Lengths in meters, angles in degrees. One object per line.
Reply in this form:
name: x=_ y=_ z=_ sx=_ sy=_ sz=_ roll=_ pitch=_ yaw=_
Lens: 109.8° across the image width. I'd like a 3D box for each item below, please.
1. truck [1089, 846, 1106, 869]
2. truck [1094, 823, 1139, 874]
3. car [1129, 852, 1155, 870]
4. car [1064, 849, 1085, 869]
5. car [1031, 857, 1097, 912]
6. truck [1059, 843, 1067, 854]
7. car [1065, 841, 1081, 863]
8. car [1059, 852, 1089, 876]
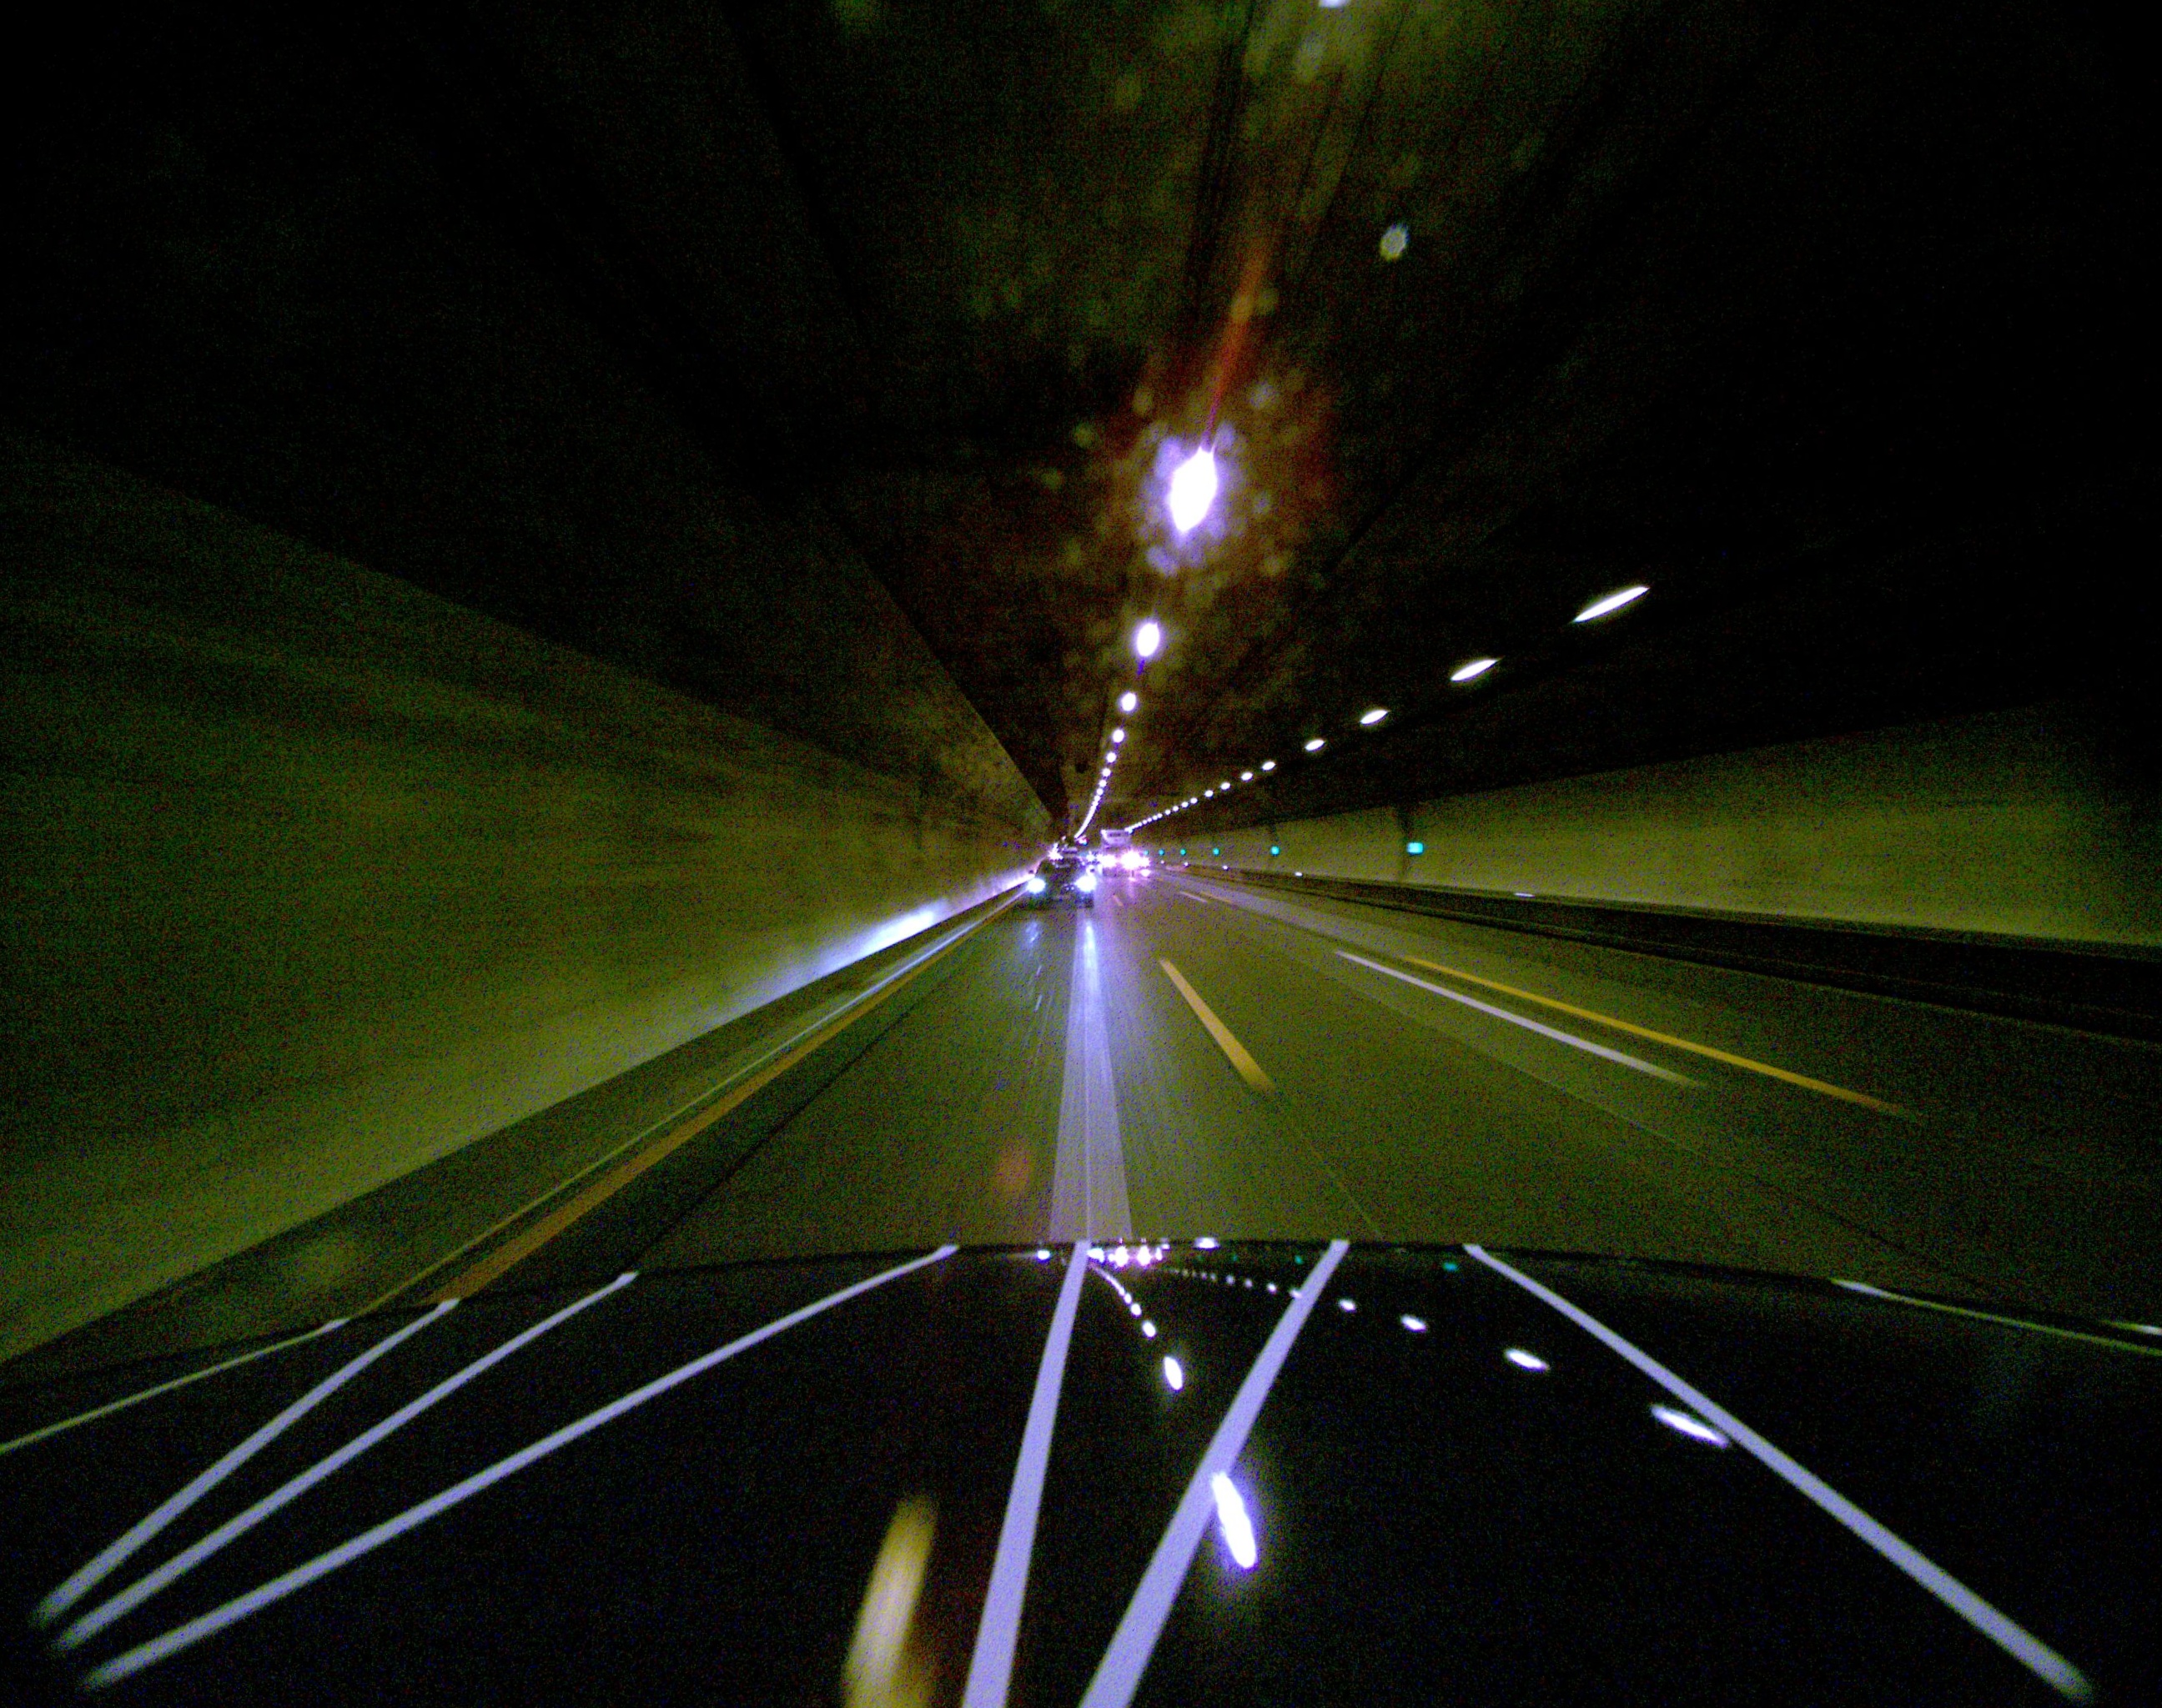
truck: x=2.217 y=0.403 z=105.243 sx=2.162 sy=3.098 sz=6.030 roll=-2 pitch=1 yaw=1
truck: x=2.401 y=-0.381 z=54.076 sx=2.534 sy=3.314 sz=7.714 roll=-1 pitch=0 yaw=-2
car: x=5.455 y=0.598 z=68.138 sx=1.998 sy=1.531 sz=4.851 roll=-2 pitch=1 yaw=1
car: x=-0.727 y=0.533 z=80.015 sx=1.999 sy=2.002 sz=4.852 roll=-1 pitch=0 yaw=-3
car: x=-0.563 y=0.873 z=23.675 sx=1.826 sy=1.469 sz=4.520 roll=-2 pitch=0 yaw=-2
truck: x=-6.332 y=-1.858 z=263.812 sx=2.208 sy=3.449 sz=11.766 roll=-1 pitch=0 yaw=2
car: x=-1.085 y=-0.292 z=102.770 sx=1.999 sy=2.710 sz=6.272 roll=-2 pitch=1 yaw=-2
car: x=-0.570 y=0.699 z=55.281 sx=1.999 sy=1.531 sz=4.741 roll=-2 pitch=1 yaw=-2
